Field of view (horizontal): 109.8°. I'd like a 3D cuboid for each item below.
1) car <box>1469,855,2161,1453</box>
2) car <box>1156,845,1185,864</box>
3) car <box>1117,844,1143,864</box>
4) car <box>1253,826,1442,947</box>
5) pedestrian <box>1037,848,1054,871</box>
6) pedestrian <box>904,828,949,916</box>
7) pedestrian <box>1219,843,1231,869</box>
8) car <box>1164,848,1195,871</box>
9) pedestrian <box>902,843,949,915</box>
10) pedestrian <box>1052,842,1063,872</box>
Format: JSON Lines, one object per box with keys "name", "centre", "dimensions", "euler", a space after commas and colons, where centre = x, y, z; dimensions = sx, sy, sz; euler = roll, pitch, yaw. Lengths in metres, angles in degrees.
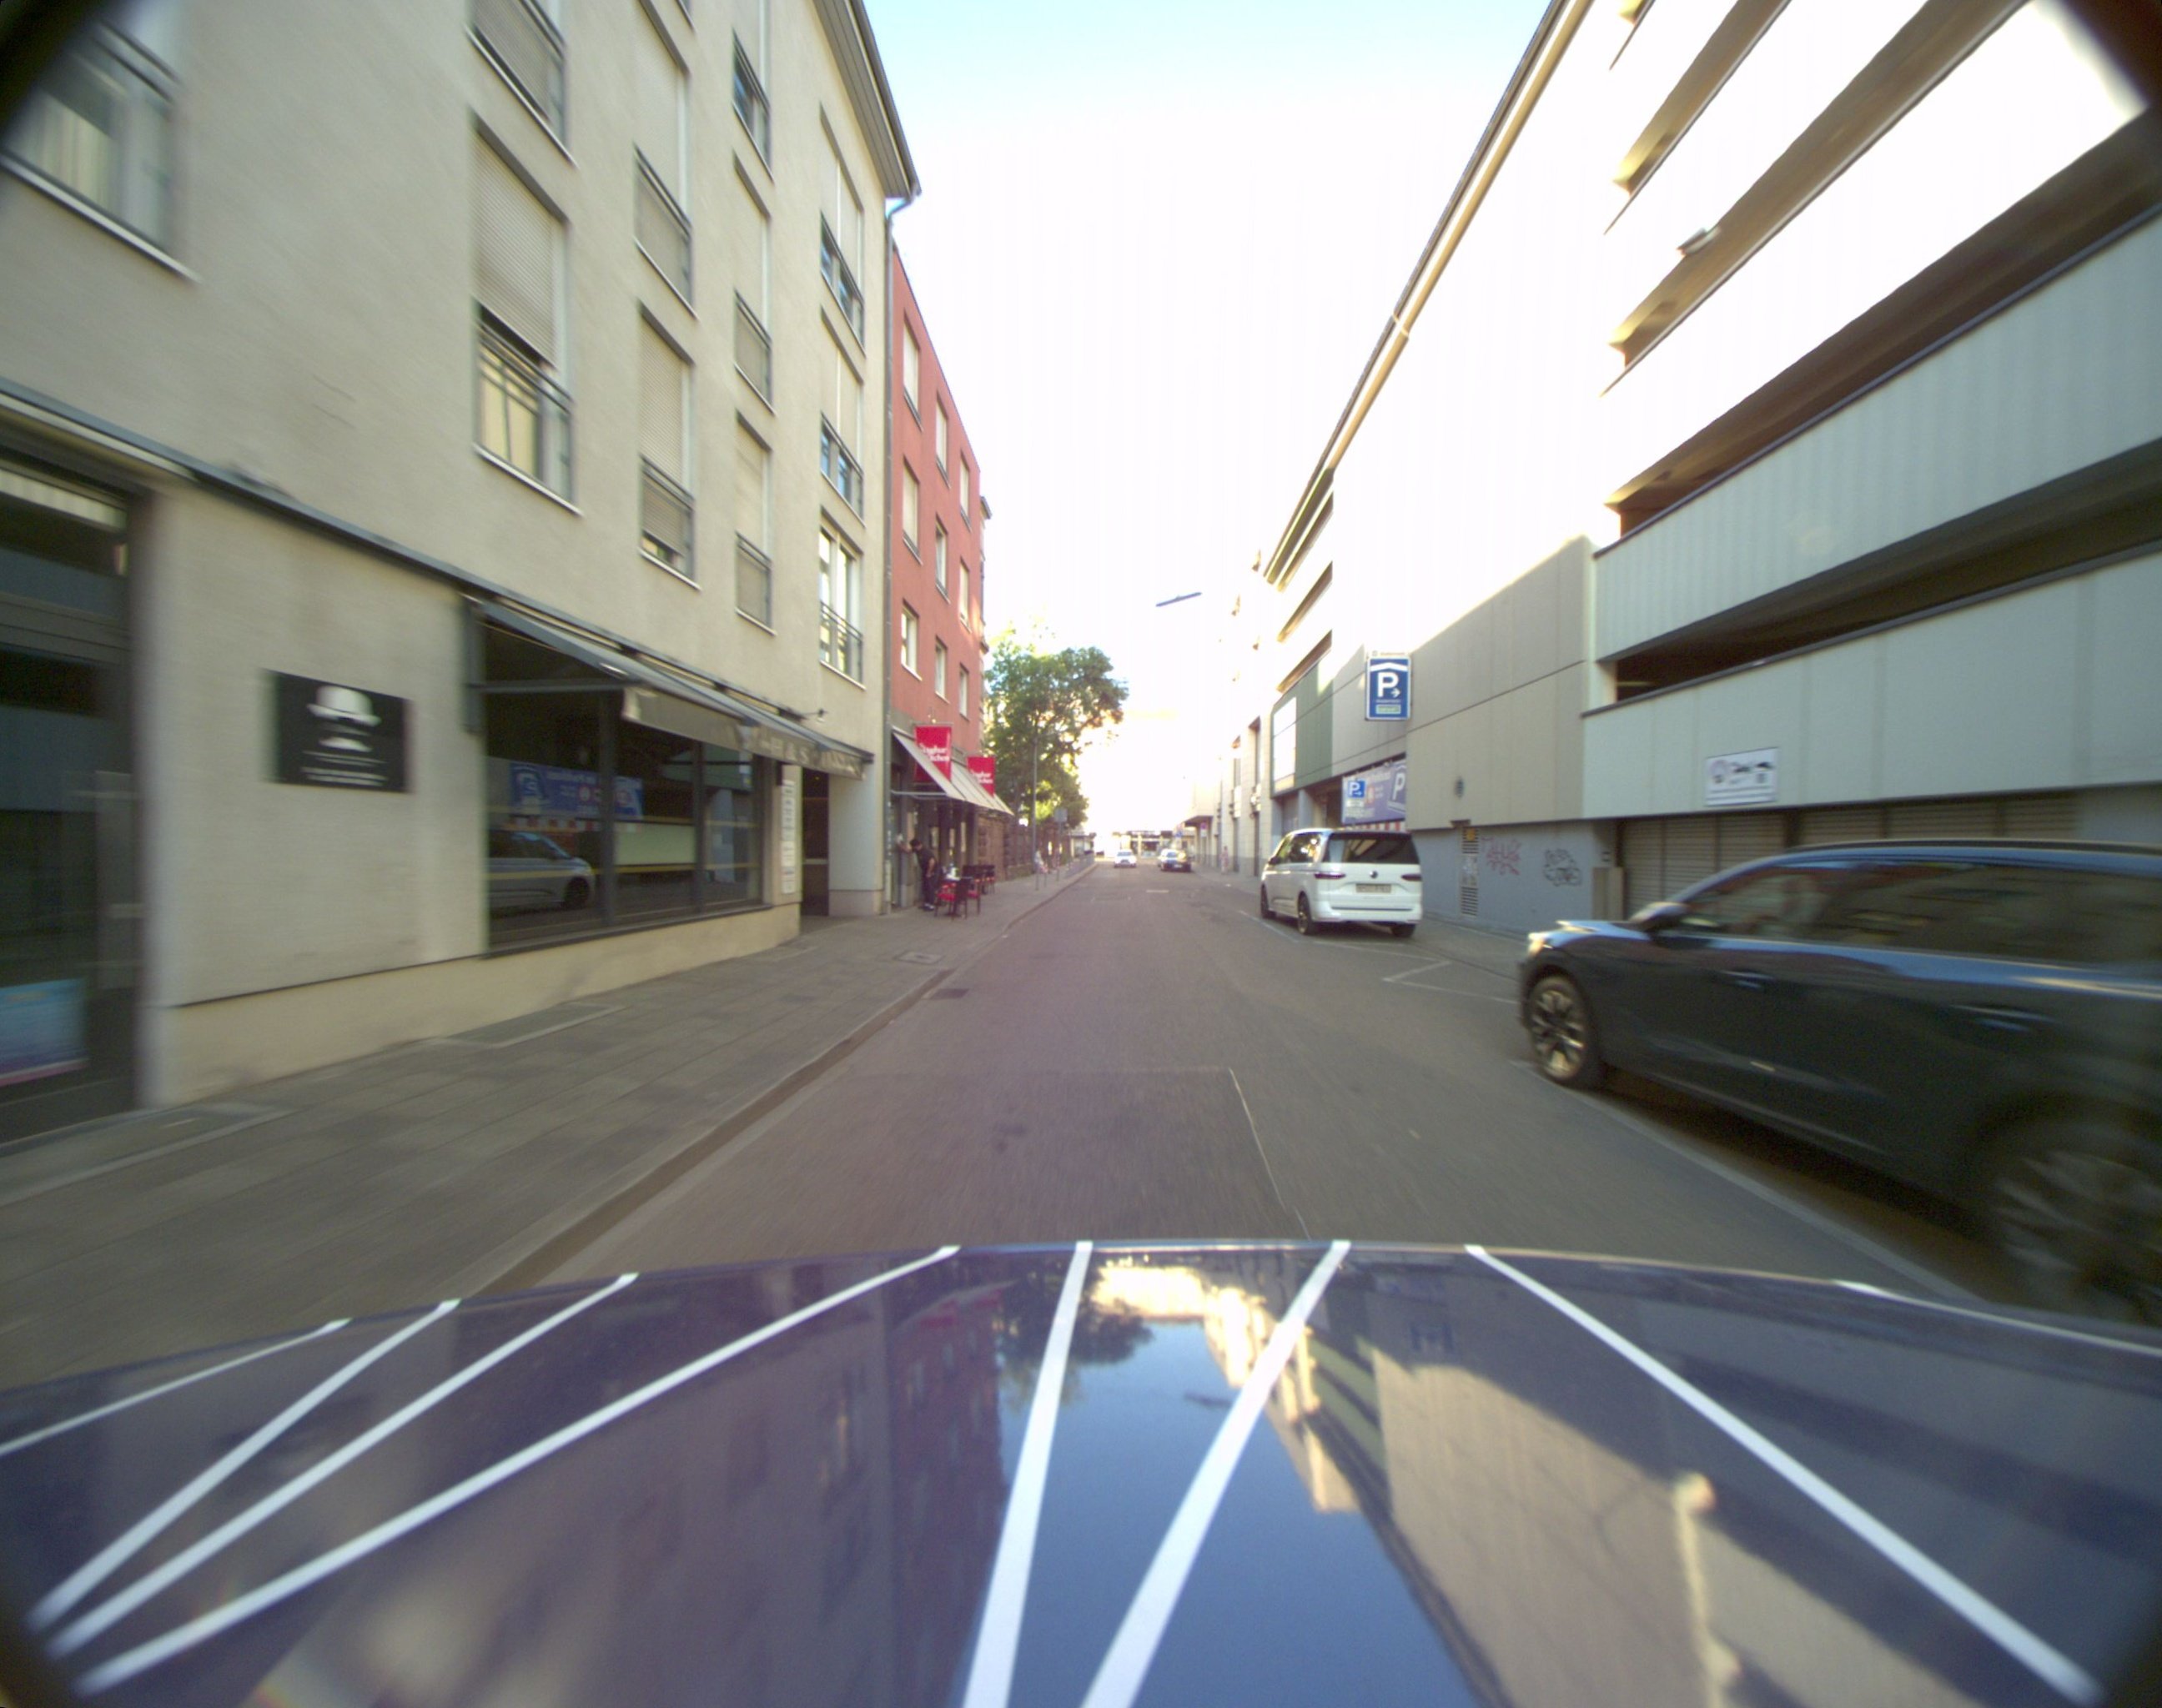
{"name": "car", "centre": [3.933, 0.863, 3.461], "dimensions": [1.885, 1.559, 4.770], "euler": [2, 1, 1]}
{"name": "car", "centre": [7.336, 0.033, 62.611], "dimensions": [1.818, 1.440, 3.628], "euler": [2, 1, -1]}
{"name": "car", "centre": [3.910, -0.033, 61.391], "dimensions": [1.789, 1.516, 3.999], "euler": [-2, 1, 0]}
{"name": "car", "centre": [4.923, 0.491, 14.903], "dimensions": [1.998, 1.929, 4.850], "euler": [2, 1, 1]}
{"name": "pedestrian", "centre": [-2.019, 0.318, 42.983], "dimensions": [0.928, 1.242, 0.362], "euler": [2, 2, 0]}
{"name": "pedestrian", "centre": [-3.241, 0.373, 15.927], "dimensions": [0.661, 1.782, 0.728], "euler": [2, 2, -27]}
{"name": "pedestrian", "centre": [9.038, 0.138, 47.741], "dimensions": [0.620, 1.616, 0.565], "euler": [-1, 1, 3]}
{"name": "car", "centre": [6.823, 0.354, 52.803], "dimensions": [1.997, 1.409, 4.559], "euler": [2, 2, 6]}
{"name": "pedestrian", "centre": [-3.249, 0.519, 15.959], "dimensions": [0.827, 1.477, 0.661], "euler": [0, 1, 2]}
{"name": "pedestrian", "centre": [-1.337, 0.165, 43.098], "dimensions": [0.437, 1.637, 0.558], "euler": [2, 2, 10]}
